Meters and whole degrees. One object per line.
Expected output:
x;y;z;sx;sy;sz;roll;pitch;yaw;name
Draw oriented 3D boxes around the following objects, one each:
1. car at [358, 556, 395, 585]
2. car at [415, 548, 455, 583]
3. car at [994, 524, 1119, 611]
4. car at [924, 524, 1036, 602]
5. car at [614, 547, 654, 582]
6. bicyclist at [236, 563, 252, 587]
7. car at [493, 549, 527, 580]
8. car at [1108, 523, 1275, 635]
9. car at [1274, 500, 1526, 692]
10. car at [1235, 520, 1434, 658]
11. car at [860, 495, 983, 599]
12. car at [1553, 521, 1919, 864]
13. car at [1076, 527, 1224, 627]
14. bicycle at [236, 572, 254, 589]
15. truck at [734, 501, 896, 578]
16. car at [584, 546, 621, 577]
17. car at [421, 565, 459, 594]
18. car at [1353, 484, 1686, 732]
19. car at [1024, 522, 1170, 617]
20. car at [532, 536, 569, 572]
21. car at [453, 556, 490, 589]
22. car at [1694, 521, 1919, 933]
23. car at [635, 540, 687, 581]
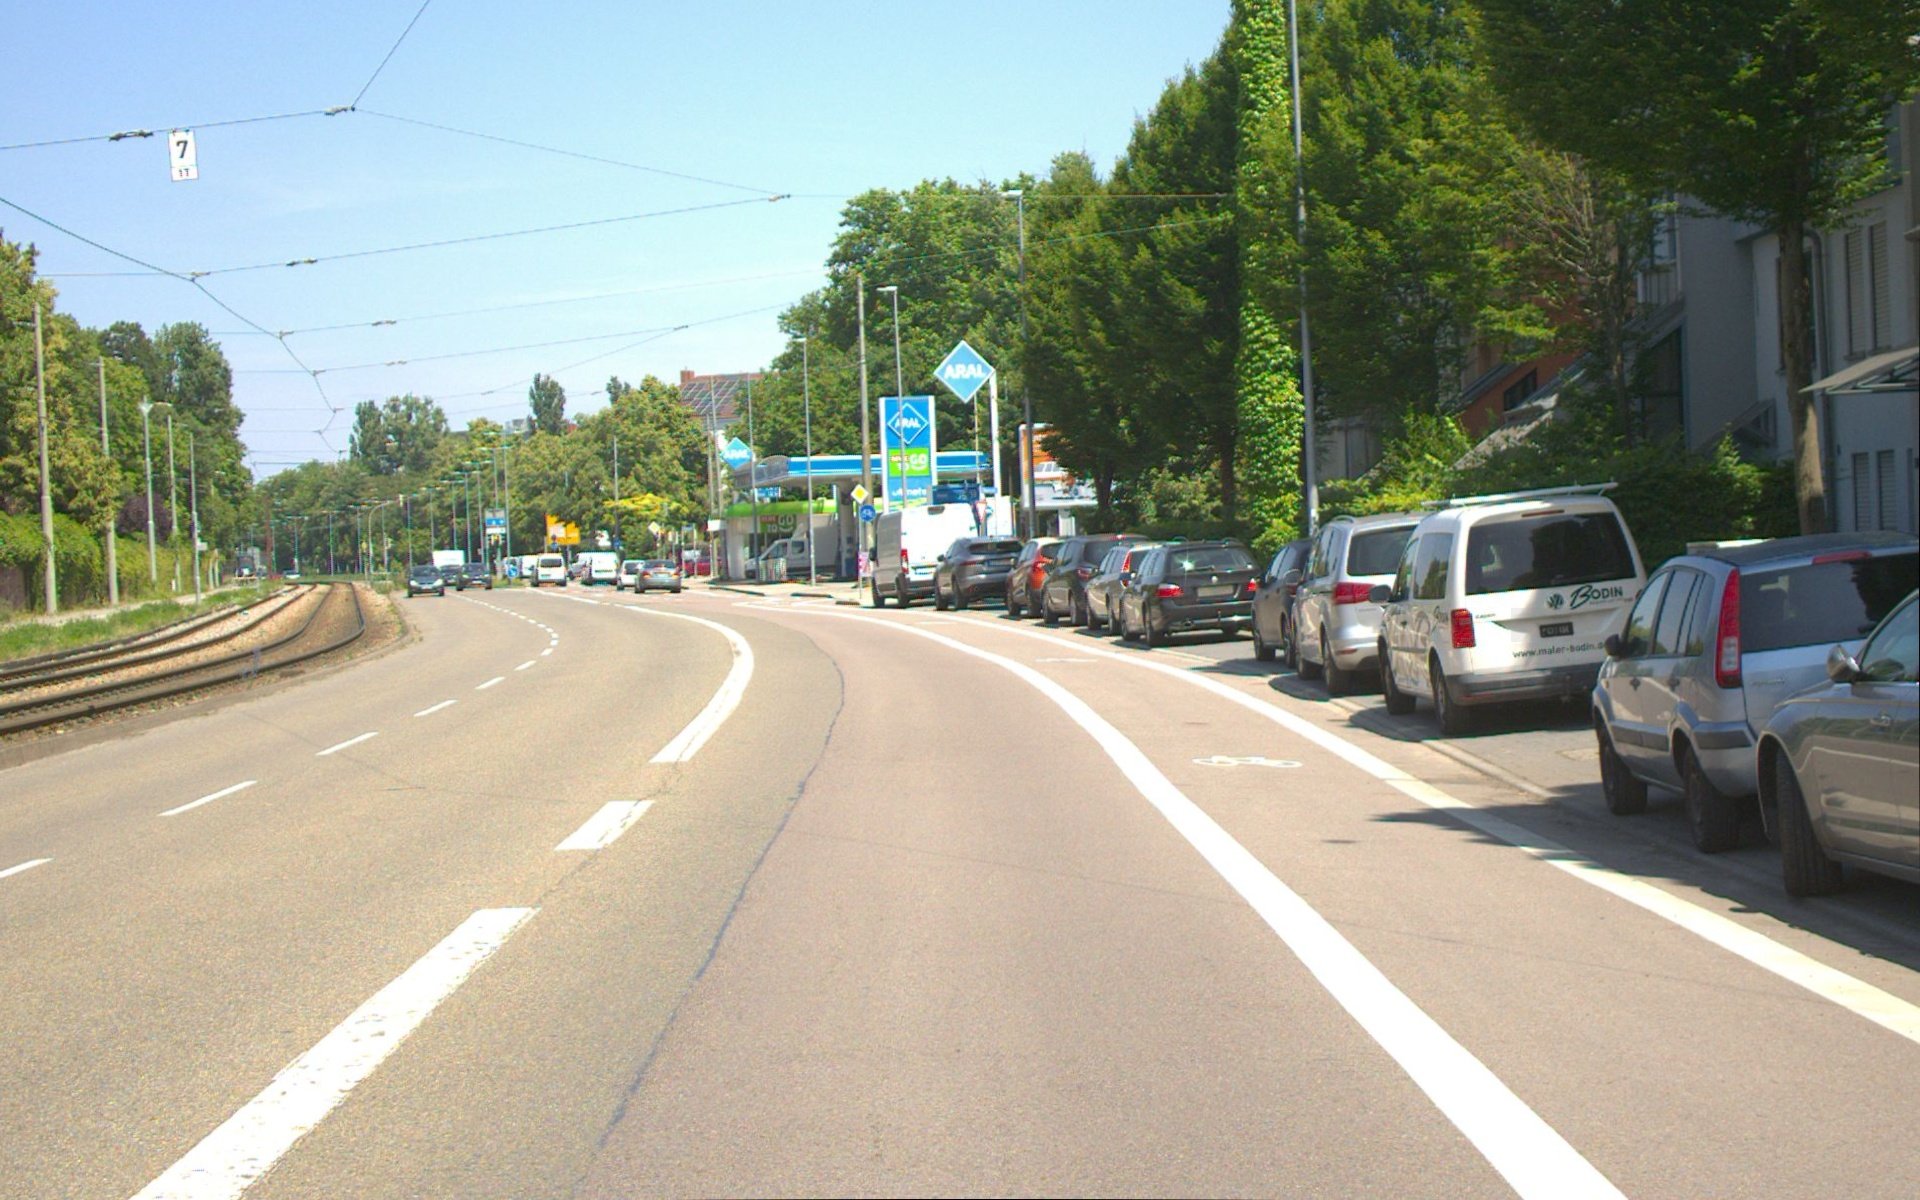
-35.377;-1.772;208.354;1.755;1.625;4.325;-4;1;-14;car
-25.142;-1.649;164.482;1.755;1.504;4.325;-4;1;-9;car
1.900;-0.664;68.899;1.706;1.557;4.325;-4;1;-8;car
0.426;-0.852;78.874;1.755;1.625;4.325;-4;1;-9;car
-16.596;-1.808;174.795;1.755;1.625;4.325;-4;1;-8;car
-48.382;-1.694;232.301;0.681;1.568;0.795;-6;1;0;bicyclist
-25.490;-2.030;194.529;1.755;1.625;4.325;-4;1;-8;car
3.435;-0.359;51.804;1.706;1.487;5.039;-4;1;-4;car
4.384;-0.099;34.948;1.840;1.688;4.779;-4;1;0;car
4.332;-0.167;40.314;1.583;1.418;4.181;-4;1;-3;car
-1.042;-1.369;88.984;2.000;2.448;6.111;-4;1;-10;car
4.534;0.404;18.827;1.841;1.524;4.216;-4;1;1;car
3.115;-0.416;57.336;1.706;1.487;4.732;-4;1;-5;car
-48.339;-1.332;232.298;0.681;1.050;2.009;-6;1;0;bicycle
-7.292;-3.053;172.911;7.967;3.590;2.663;-2;1;-3;truck
-20.677;-2.232;198.687;1.755;1.625;4.325;-4;1;-9;car
-32.001;-1.252;211.629;1.755;1.625;4.325;-4;1;-14;car
4.580;0.009;28.764;1.840;1.787;4.354;-4;1;-2;car
2.471;-0.566;62.983;1.706;1.557;4.325;-4;1;-9;car
-23.360;-2.628;195.968;1.755;1.868;4.325;-4;1;-9;car
-26.239;-1.498;184.736;1.755;1.625;4.325;-4;1;-9;car
4.560;0.454;13.790;1.840;1.524;4.967;-4;1;-3;car
-12.782;-1.685;146.775;1.755;1.625;4.325;-4;1;-9;car
